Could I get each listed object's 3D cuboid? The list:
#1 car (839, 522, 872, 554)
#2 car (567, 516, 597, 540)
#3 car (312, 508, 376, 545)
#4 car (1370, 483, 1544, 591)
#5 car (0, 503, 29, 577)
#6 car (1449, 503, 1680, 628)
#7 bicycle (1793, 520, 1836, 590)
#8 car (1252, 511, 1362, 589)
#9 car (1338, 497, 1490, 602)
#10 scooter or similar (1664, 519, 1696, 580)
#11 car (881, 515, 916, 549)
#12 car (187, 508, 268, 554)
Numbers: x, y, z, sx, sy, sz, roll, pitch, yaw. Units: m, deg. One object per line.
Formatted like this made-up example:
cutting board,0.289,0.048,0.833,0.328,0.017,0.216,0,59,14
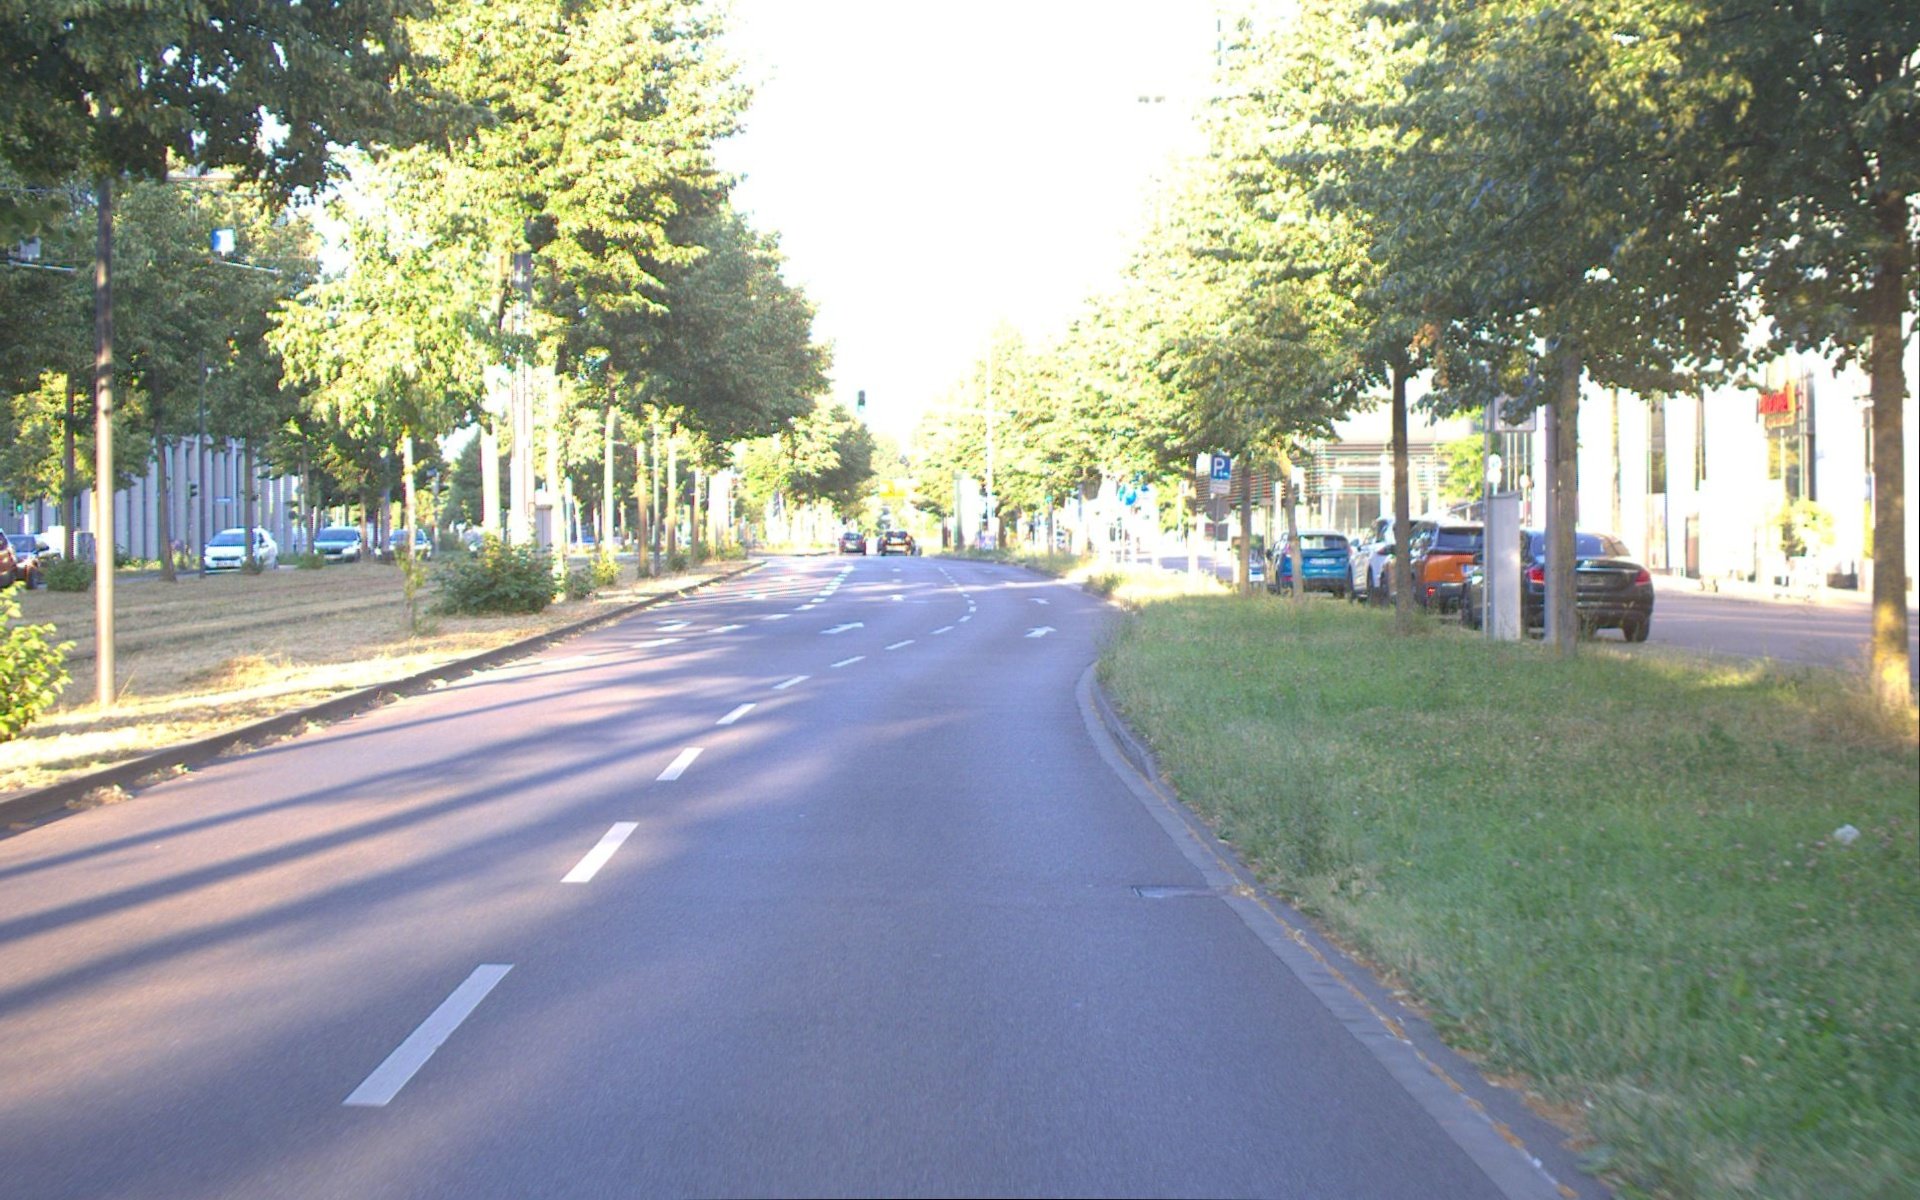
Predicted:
car,-6.668,-3.957,219.445,2.087,2.006,4.001,0,2,-2
car,-25.771,-4.925,234.488,1.728,1.584,3.515,0,1,-1
car,-22.348,-2.672,124.810,1.657,1.327,4.742,0,1,-3
car,7.466,-0.970,52.015,1.854,1.524,4.483,1,1,-1
car,-21.345,-1.273,73.494,1.885,1.572,4.183,0,1,-3
car,7.811,-0.485,44.876,1.943,1.543,4.813,0,1,-3
bicycle,14.506,-0.772,58.395,0.571,1.120,1.833,-2,2,10
car,7.132,-1.060,71.020,1.724,1.524,4.269,1,1,-1
car,7.852,-0.903,59.892,1.951,1.708,5.159,1,1,0
scooter or similar,14.430,-1.019,68.927,0.356,1.183,1.310,-1,1,0
car,-3.677,-4.039,204.407,1.993,2.006,4.001,0,2,-2
car,-22.161,-2.100,104.093,1.657,1.327,4.531,0,1,-3
